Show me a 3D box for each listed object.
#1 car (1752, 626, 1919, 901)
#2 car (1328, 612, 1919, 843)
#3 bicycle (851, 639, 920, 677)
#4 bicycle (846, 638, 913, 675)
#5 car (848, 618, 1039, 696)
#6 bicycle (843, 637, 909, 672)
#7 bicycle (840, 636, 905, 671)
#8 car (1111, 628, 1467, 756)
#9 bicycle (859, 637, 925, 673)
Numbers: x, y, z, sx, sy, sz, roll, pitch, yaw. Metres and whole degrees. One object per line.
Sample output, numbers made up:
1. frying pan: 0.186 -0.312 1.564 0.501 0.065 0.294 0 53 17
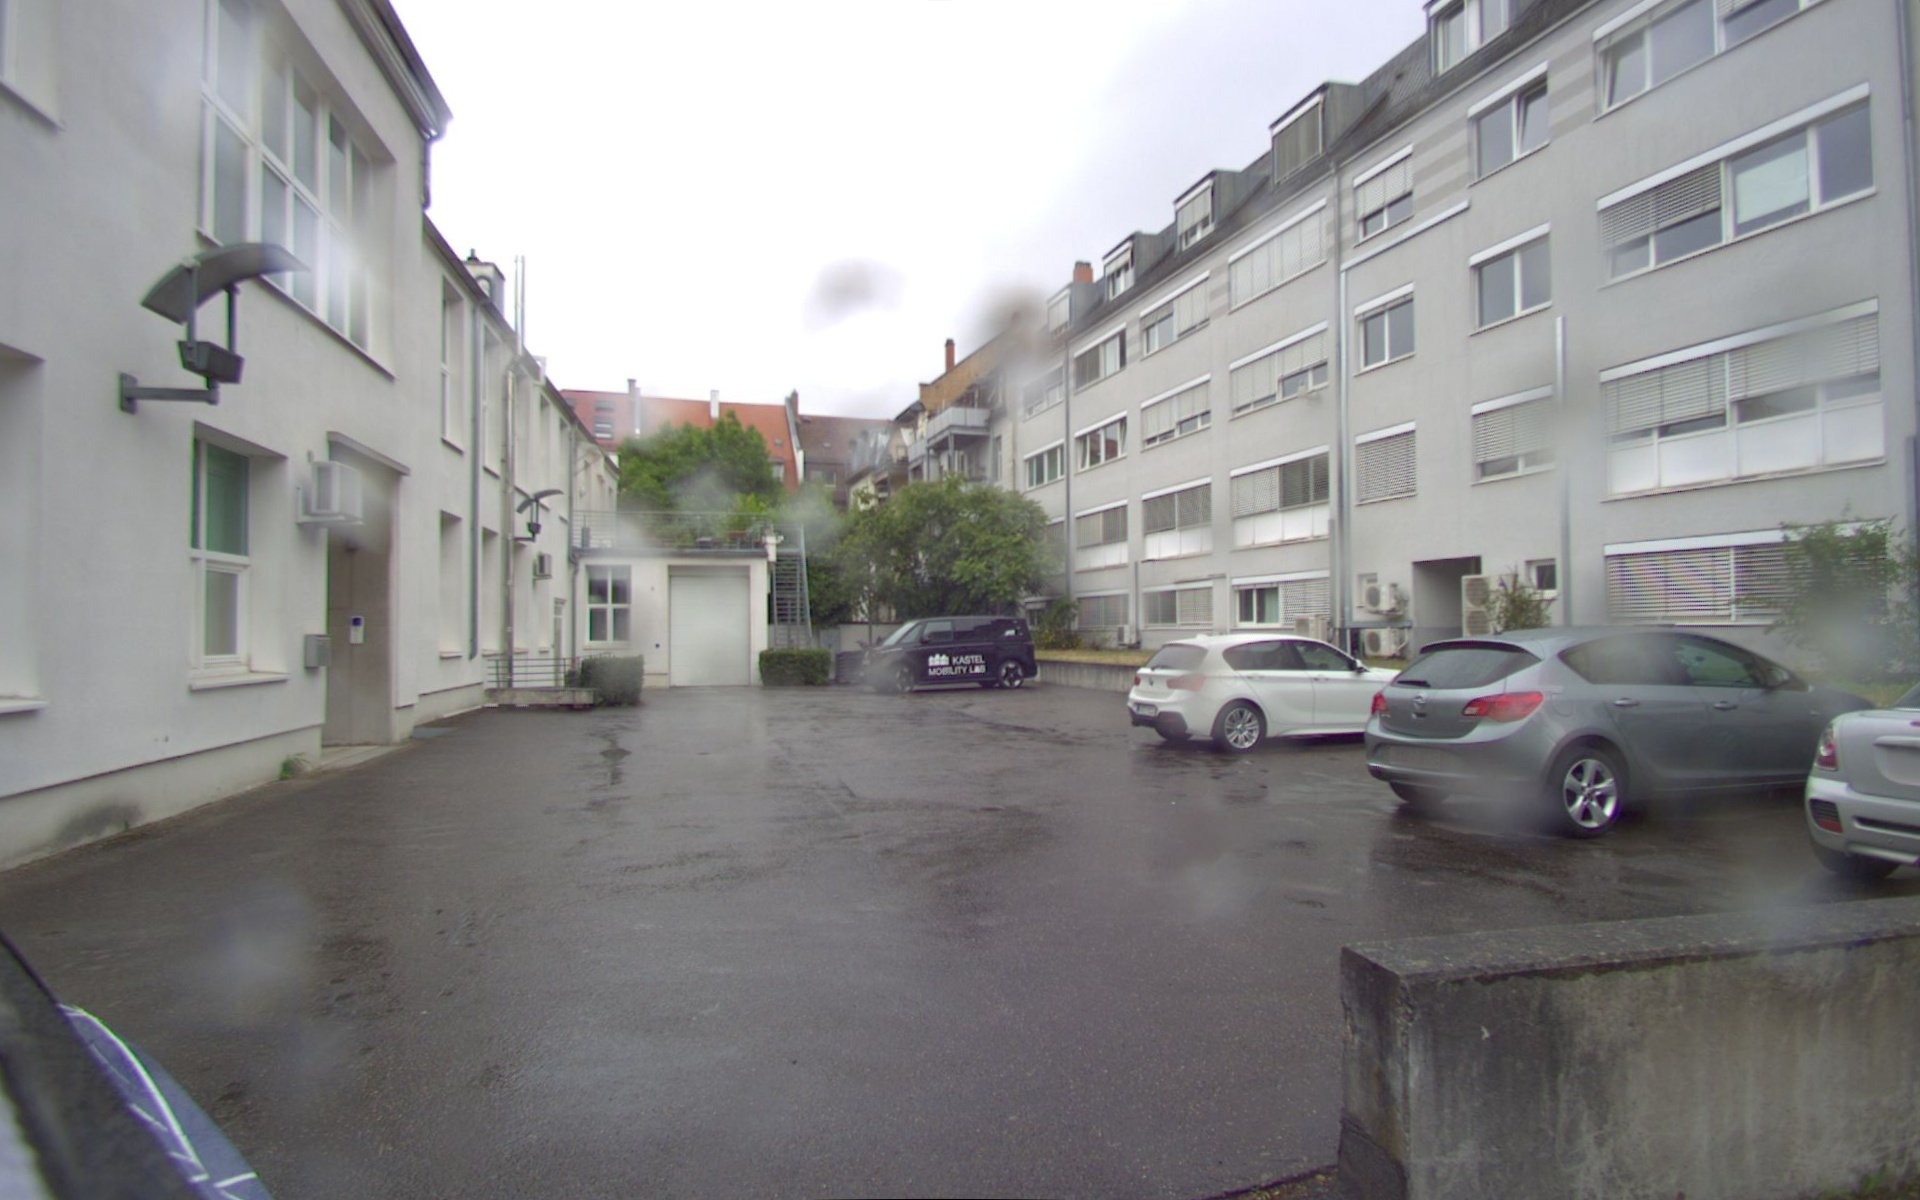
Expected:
1. car: 6.868 0.758 5.524 4.108 1.343 1.827 -3 -2 -15
2. car: 5.318 0.890 8.140 4.108 1.495 1.827 0 -3 -17
3. bicycle: -2.557 1.969 34.535 2.283 1.195 0.645 0 0 -11
4. bicycle: -2.807 1.966 35.301 2.283 1.195 0.645 0 0 -11
5. car: -0.455 1.463 26.374 4.551 1.851 1.994 0 -3 -19
6. bicycle: -3.025 1.961 36.452 2.283 1.195 0.645 0 0 -11
7. bicycle: -3.210 1.959 37.061 2.283 1.195 0.645 0 0 -11
8. car: 4.222 1.105 13.131 4.082 1.444 1.758 0 -2 -17
9. bicycle: -2.419 1.960 36.062 2.283 1.195 0.645 0 0 -11
